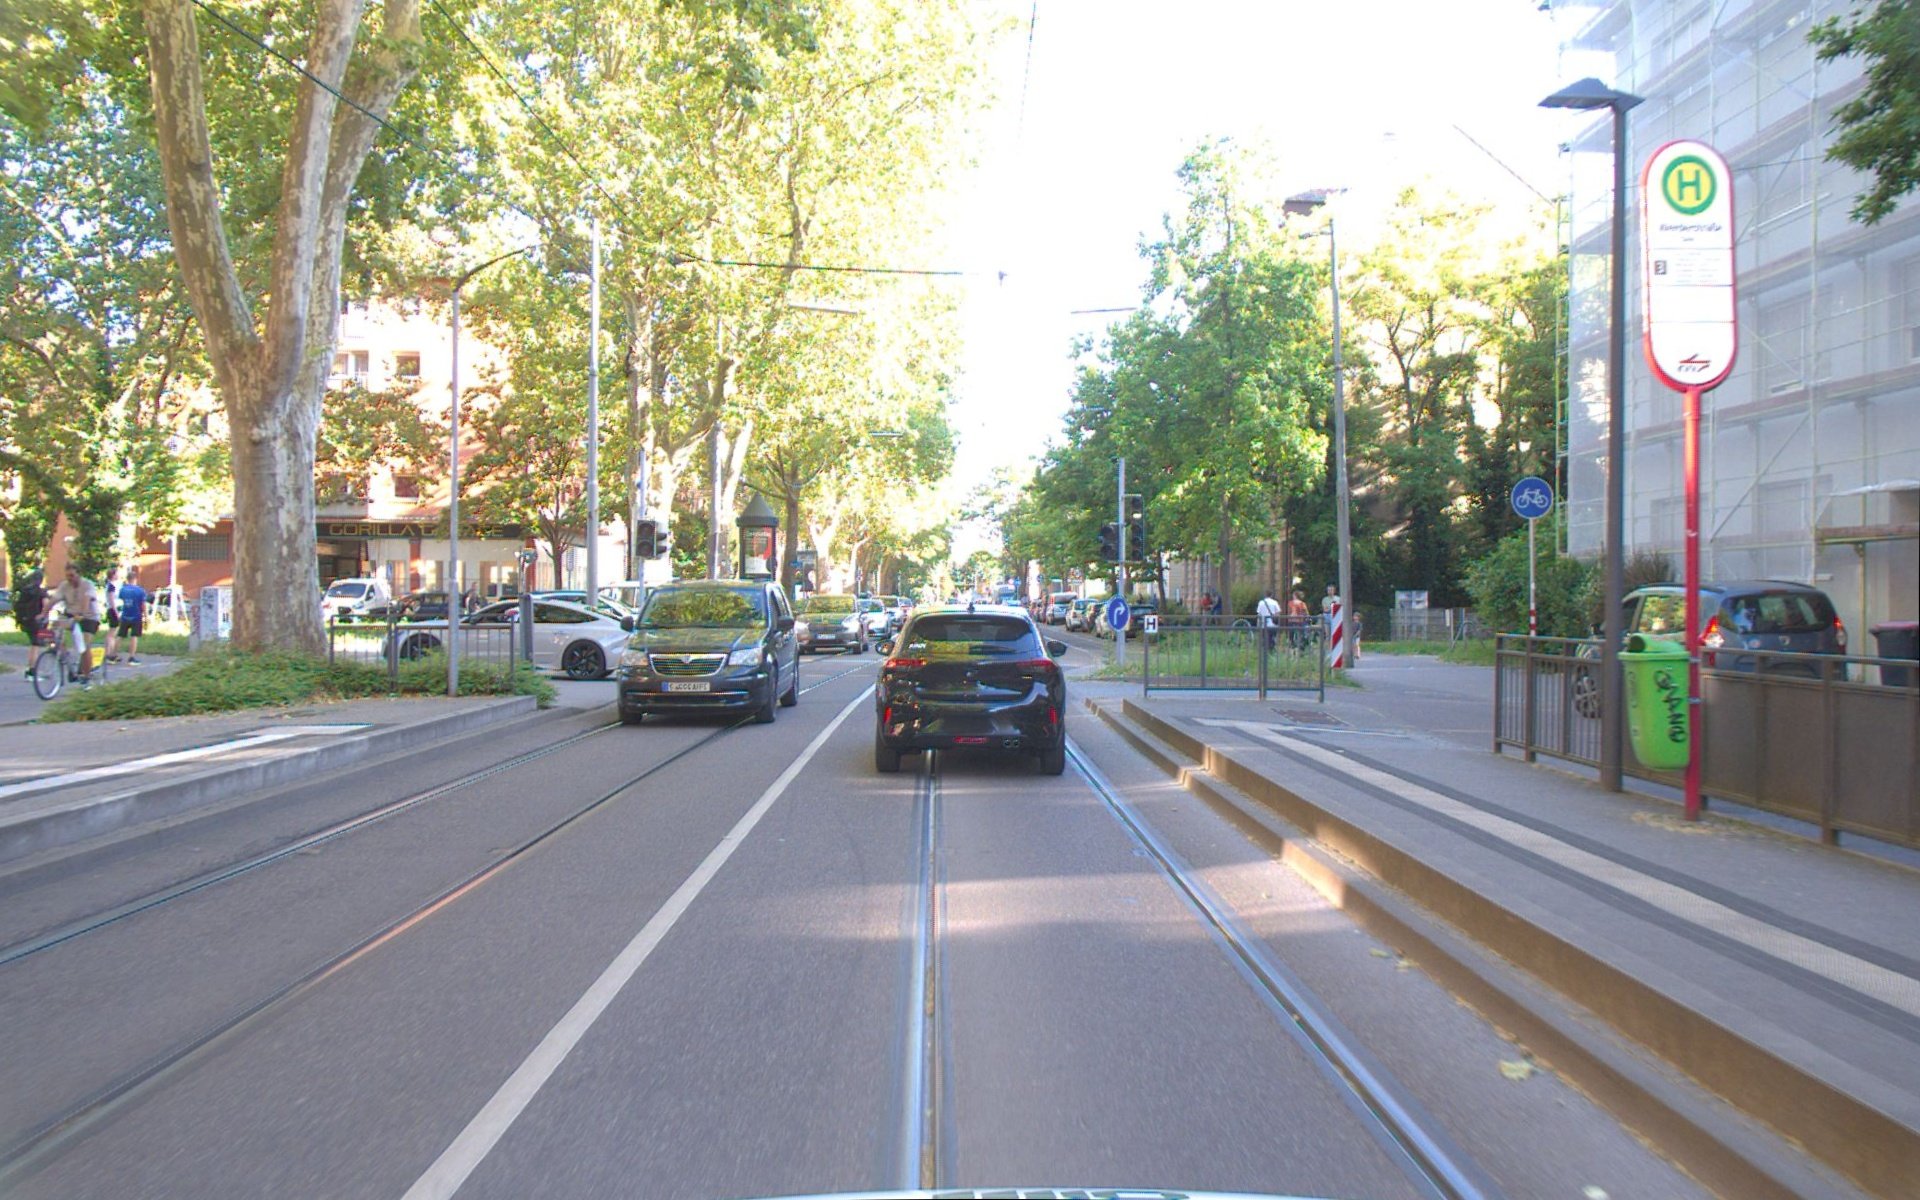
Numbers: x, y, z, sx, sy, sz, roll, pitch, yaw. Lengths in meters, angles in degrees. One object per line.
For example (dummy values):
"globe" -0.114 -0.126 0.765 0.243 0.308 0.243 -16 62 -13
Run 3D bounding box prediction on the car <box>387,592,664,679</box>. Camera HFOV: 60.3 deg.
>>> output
"car" -7.991 0.641 30.784 4.671 1.486 1.953 1 0 -5

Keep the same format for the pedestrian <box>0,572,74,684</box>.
"pedestrian" -14.396 0.427 25.794 0.695 1.702 0.779 1 0 -1

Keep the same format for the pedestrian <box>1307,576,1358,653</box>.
"pedestrian" 9.359 0.362 41.592 0.854 1.918 0.993 1 0 -19

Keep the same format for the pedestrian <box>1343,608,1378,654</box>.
"pedestrian" 10.089 0.781 41.661 0.662 1.138 0.658 1 0 -9

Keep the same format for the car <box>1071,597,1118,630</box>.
"car" 6.509 0.661 80.417 1.845 1.492 4.593 -2 0 0

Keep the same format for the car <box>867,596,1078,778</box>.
"car" 0.085 0.731 15.740 1.727 1.486 3.949 1 0 -1

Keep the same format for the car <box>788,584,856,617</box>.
"car" -10.087 0.016 121.289 4.934 2.299 2.084 1 0 -4

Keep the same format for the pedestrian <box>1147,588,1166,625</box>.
"pedestrian" 9.958 0.321 83.915 0.594 1.824 0.719 1 -1 -36

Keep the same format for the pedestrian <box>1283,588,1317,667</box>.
"pedestrian" 8.092 0.646 39.427 0.710 1.824 0.969 -2 0 10

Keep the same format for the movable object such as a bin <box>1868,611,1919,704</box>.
"movable object such as a bin" 12.043 0.704 20.787 0.863 1.130 0.696 -1 0 -3

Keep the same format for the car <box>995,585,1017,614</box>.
"car" 4.650 -0.044 167.930 2.043 2.820 4.696 -1 0 -1

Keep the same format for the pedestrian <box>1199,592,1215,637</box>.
"pedestrian" 10.124 0.587 67.806 0.586 1.824 0.729 1 0 7

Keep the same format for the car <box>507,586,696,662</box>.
"car" -8.417 0.559 39.145 4.056 1.675 1.901 1 0 -2

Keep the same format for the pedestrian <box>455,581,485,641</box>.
"pedestrian" -15.070 0.338 50.870 0.630 1.841 0.752 1 0 5

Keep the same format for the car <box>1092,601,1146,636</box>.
"car" 6.791 0.764 71.004 1.846 1.392 4.106 -2 0 -1

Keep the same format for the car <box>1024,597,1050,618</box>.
"car" 5.754 0.574 124.332 1.668 1.448 3.977 -3 0 -1

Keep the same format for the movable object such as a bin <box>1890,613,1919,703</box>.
"movable object such as a bin" 12.660 0.739 21.374 0.863 1.130 0.696 -1 0 -3

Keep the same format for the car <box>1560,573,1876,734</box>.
"car" 8.785 0.536 19.633 1.726 1.650 4.442 -2 1 1

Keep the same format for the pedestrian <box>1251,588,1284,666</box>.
"pedestrian" 7.305 0.630 39.310 0.710 1.824 0.854 -2 0 10

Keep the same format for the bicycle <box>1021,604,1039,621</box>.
"bicycle" 4.374 0.759 103.638 0.948 1.016 2.582 1 0 -2

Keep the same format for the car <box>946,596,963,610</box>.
"car" -0.750 0.384 227.374 2.208 1.873 5.530 -1 0 -1

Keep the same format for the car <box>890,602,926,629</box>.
"car" -2.964 0.856 93.644 1.630 1.469 3.467 2 0 -8

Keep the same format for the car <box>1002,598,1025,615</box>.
"car" 4.888 0.566 150.632 1.846 1.459 4.529 -2 0 -1

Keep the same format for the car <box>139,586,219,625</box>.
"car" -34.454 0.225 73.102 1.908 1.646 4.475 1 0 -8

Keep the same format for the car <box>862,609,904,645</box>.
"car" -3.527 1.219 76.272 1.778 1.596 4.115 -1 0 -1

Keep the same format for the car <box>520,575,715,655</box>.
"car" -8.509 0.379 41.370 4.479 1.866 1.937 1 0 -2

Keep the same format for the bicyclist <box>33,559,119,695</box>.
"bicyclist" -12.151 0.370 22.762 0.685 1.819 0.839 1 0 1

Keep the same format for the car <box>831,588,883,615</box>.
"car" -10.379 0.152 167.041 4.934 2.416 2.081 -3 0 -1

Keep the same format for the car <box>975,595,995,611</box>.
"car" 3.080 0.383 203.148 2.208 1.873 5.530 -1 0 -1

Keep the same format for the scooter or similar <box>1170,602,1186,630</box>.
"scooter or similar" 10.181 0.742 77.364 0.564 1.268 1.335 1 0 0

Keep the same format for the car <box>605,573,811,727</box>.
"car" -3.140 0.584 21.661 1.953 1.746 5.142 1 0 -1

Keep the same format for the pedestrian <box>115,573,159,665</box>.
"pedestrian" -15.337 0.357 30.831 0.686 1.688 0.557 1 -1 -27

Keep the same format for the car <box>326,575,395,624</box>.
"car" -26.462 -0.011 73.154 1.957 2.038 4.909 1 0 -10

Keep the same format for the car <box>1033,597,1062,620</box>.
"car" 6.099 0.590 115.852 1.677 1.540 4.035 -2 0 -2

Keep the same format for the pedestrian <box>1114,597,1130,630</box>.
"pedestrian" 8.588 0.704 87.608 0.711 1.722 0.956 1 -2 -1

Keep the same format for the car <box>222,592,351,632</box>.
"car" -26.581 0.456 65.399 4.385 1.475 1.820 1 0 -9

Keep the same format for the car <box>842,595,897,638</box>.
"car" -3.241 0.582 59.978 1.739 1.486 4.204 1 0 0

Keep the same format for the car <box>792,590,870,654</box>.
"car" -3.513 0.590 45.740 1.869 1.666 4.319 -1 0 -1

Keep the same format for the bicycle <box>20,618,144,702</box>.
"bicycle" -12.147 0.808 22.957 0.700 1.082 1.839 1 0 1

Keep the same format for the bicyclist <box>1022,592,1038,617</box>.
"bicyclist" 4.380 0.260 103.621 0.939 1.525 1.093 1 0 -2

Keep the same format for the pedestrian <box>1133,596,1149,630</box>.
"pedestrian" 9.591 0.691 87.485 0.711 1.739 0.856 1 0 -2

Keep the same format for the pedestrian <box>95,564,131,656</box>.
"pedestrian" -16.195 0.194 31.621 0.526 1.735 0.586 1 -1 -32

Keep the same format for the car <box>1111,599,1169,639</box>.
"car" 6.941 0.724 64.181 1.639 1.437 3.841 -2 0 -2

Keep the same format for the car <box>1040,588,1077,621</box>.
"car" 5.971 0.256 100.708 1.846 1.883 4.966 -2 0 -1

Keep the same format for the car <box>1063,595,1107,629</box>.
"car" 6.408 0.604 85.039 1.846 1.595 4.241 -2 0 -1

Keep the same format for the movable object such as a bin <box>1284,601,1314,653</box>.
"movable object such as a bin" 8.262 0.653 40.333 0.625 1.223 1.306 -2 0 10

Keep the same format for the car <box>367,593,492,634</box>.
"car" -21.214 0.545 66.274 4.440 1.515 1.858 1 0 -7

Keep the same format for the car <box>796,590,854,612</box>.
"car" -10.130 0.074 124.278 4.214 1.635 1.924 1 0 -4

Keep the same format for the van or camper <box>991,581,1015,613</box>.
"van or camper" 4.527 -0.307 174.494 2.208 3.272 5.530 -1 0 -1

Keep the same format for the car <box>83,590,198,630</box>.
"car" -32.132 0.382 64.940 3.636 1.475 1.686 1 0 -6
